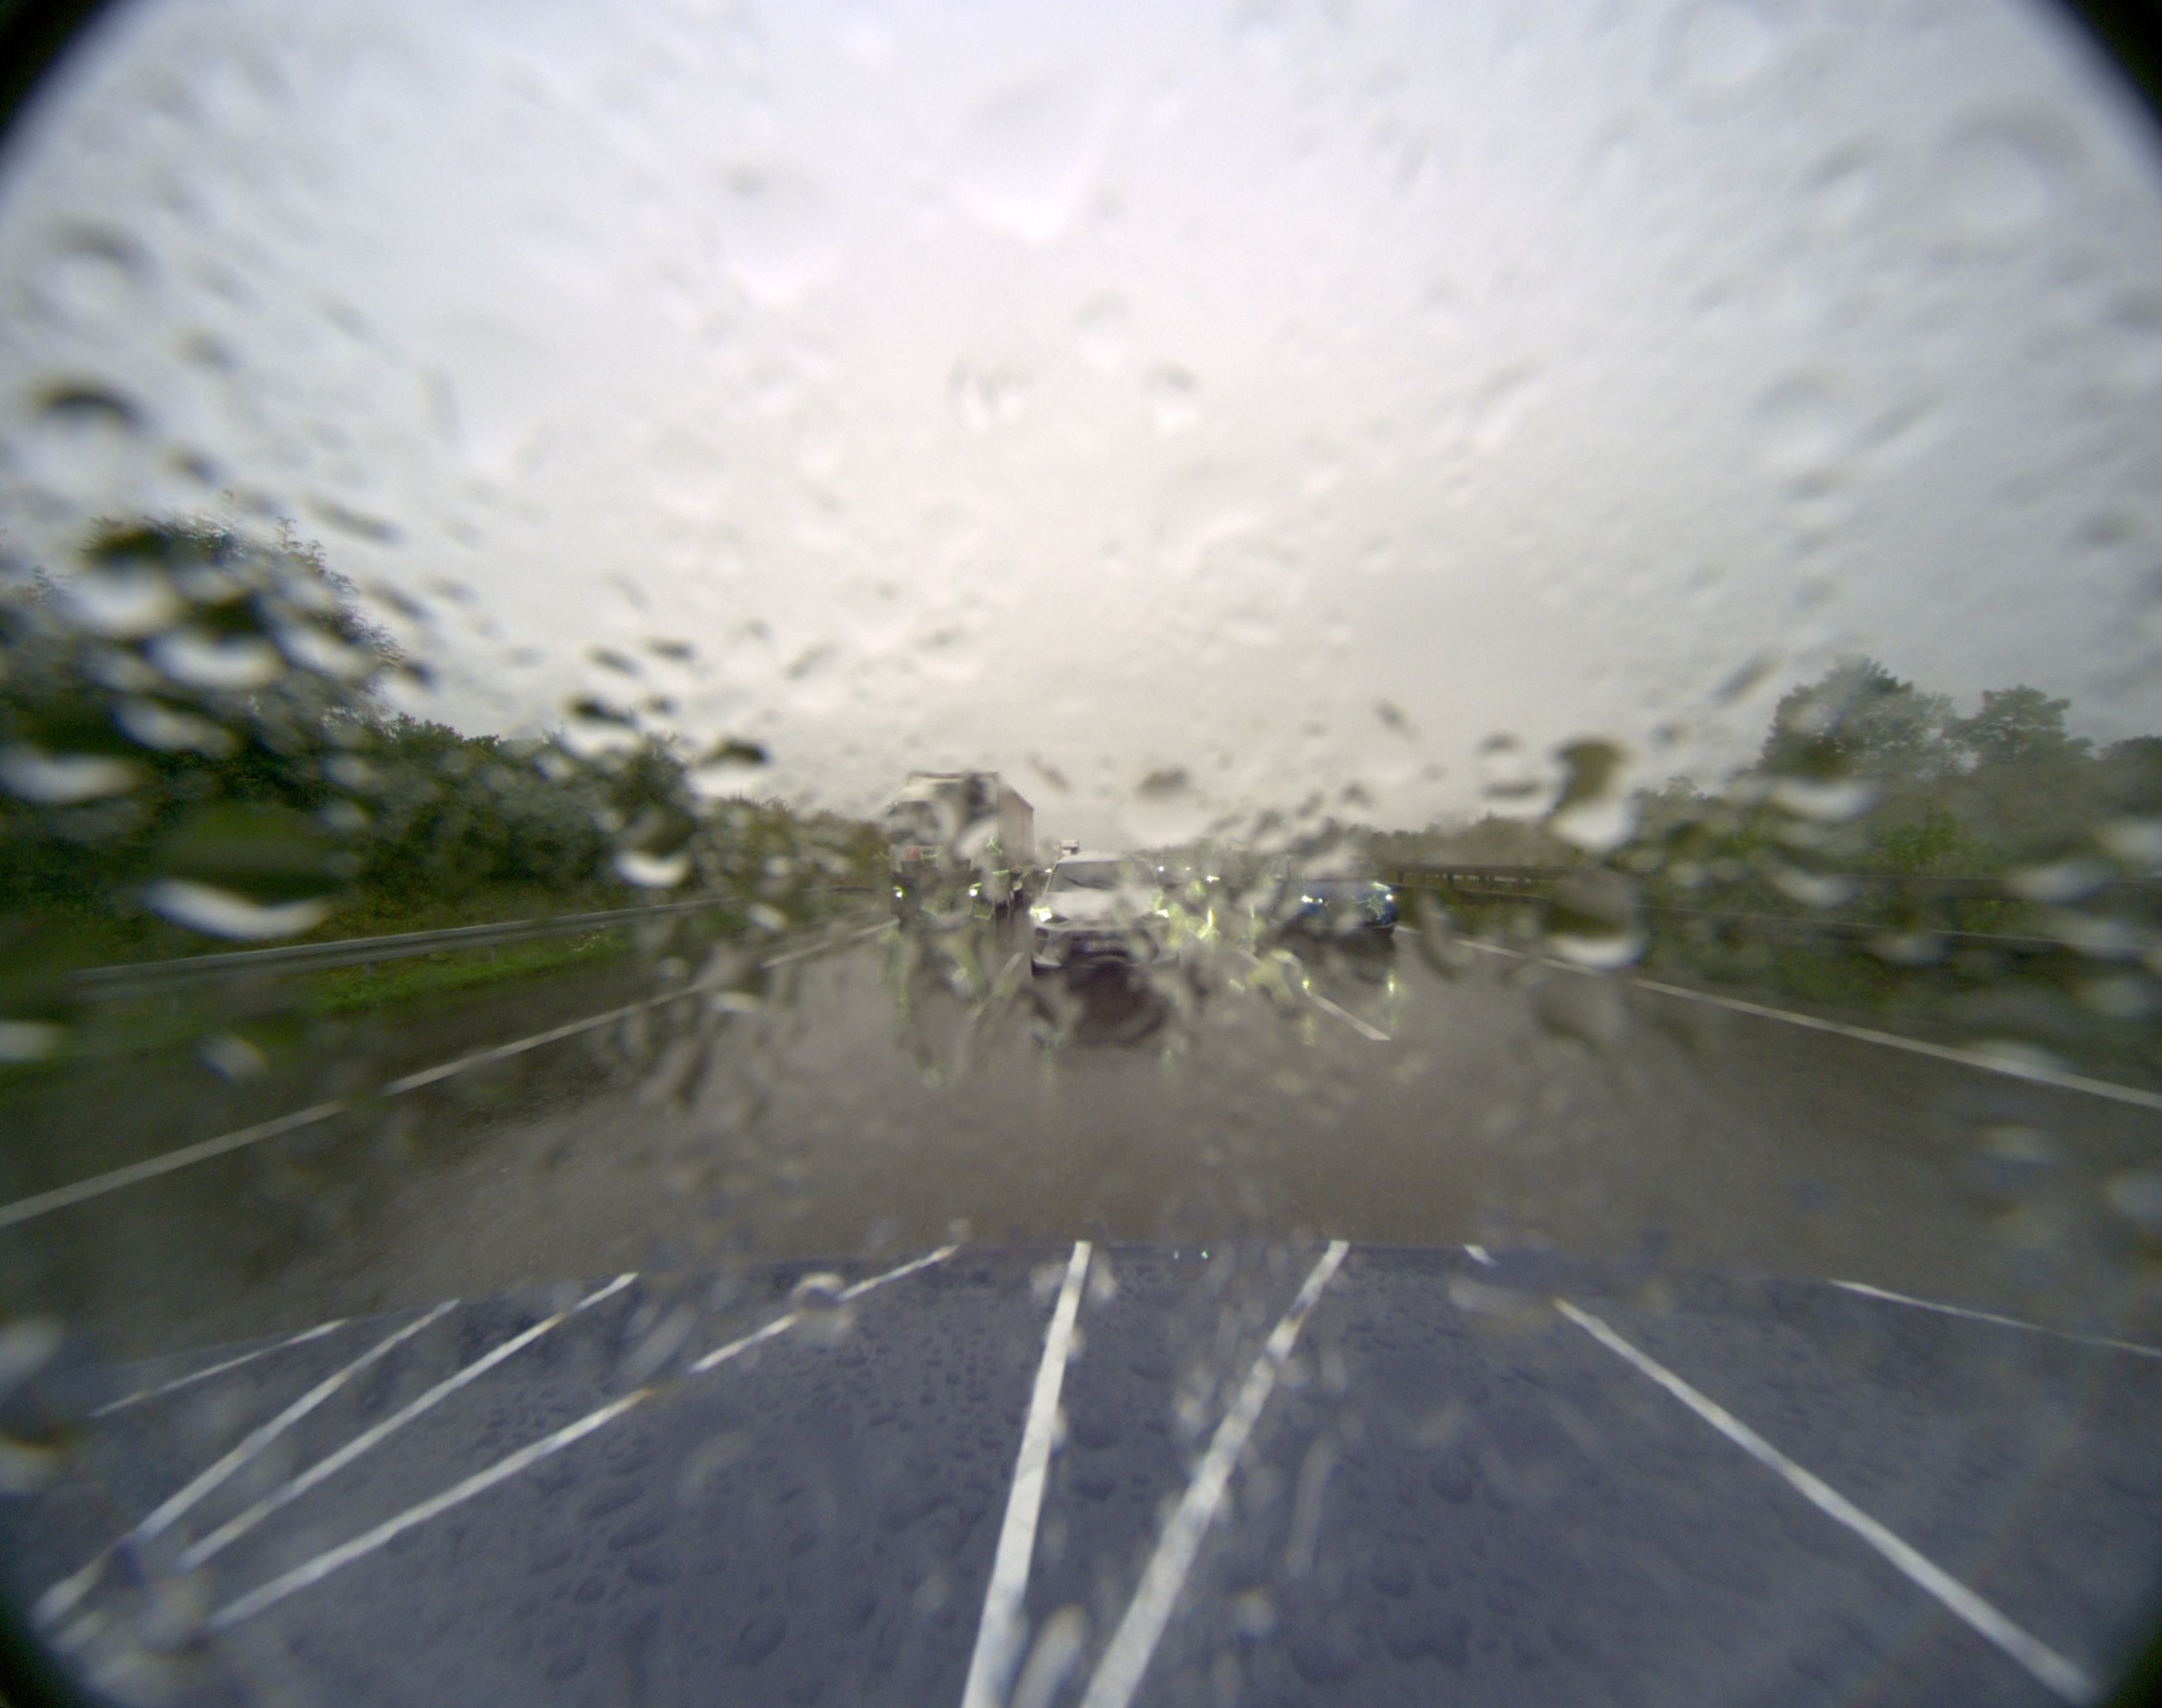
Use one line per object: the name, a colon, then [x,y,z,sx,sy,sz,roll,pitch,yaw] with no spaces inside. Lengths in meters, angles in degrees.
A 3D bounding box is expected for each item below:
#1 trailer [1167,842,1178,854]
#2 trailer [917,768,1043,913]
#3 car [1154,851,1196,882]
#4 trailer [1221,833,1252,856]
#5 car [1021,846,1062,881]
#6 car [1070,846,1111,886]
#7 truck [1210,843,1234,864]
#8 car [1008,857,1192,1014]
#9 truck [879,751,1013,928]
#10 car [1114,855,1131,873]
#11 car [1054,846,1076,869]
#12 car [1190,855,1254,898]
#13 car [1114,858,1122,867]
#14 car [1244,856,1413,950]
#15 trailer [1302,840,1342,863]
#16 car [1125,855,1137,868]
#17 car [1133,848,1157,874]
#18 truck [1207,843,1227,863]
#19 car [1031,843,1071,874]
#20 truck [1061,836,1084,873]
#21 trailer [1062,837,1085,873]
trailer: [24.705,-1.631,205.257,1.998,3.064,8.872,-2,0,1]
trailer: [-3.349,-0.459,29.678,2.633,4.224,14.175,-2,0,1]
car: [5.279,0.672,43.326,1.888,1.622,4.269,-1,0,1]
trailer: [19.000,-1.195,93.349,2.487,2.704,7.323,0,2,2]
car: [-2.356,0.553,46.610,1.946,2.002,4.447,-2,1,3]
car: [0.556,0.634,40.830,1.998,2.002,4.000,-1,0,2]
truck: [23.747,-0.143,128.389,2.561,3.279,9.346,0,1,1]
car: [0.236,0.872,9.988,1.893,1.578,4.000,-2,0,1]
truck: [-3.514,-0.371,21.049,2.633,4.229,5.043,-2,1,0]
car: [4.617,1.086,84.566,1.737,2.002,4.223,-1,0,1]
car: [-1.550,0.332,76.556,1.998,2.231,4.000,-1,0,1]
car: [5.185,0.787,28.415,1.613,1.428,4.371,-1,0,1]
car: [7.039,1.625,145.291,1.279,1.567,2.848,-2,0,1]
car: [4.473,0.794,14.491,1.790,1.467,4.512,-1,0,1]
trailer: [22.589,-0.273,71.461,2.097,2.002,5.349,0,2,1]
car: [6.347,0.945,97.069,1.458,1.540,2.804,0,2,1]
car: [5.358,0.572,63.957,1.888,2.002,4.270,-1,0,4]
truck: [23.805,-0.219,132.897,2.547,3.261,5.197,1,1,0]
car: [-2.037,0.256,53.222,2.260,2.002,4.270,-2,1,4]
truck: [-1.087,0.127,98.342,2.628,4.635,4.290,-2,0,1]
trailer: [-0.960,0.186,103.536,2.628,4.634,9.222,-2,0,1]
